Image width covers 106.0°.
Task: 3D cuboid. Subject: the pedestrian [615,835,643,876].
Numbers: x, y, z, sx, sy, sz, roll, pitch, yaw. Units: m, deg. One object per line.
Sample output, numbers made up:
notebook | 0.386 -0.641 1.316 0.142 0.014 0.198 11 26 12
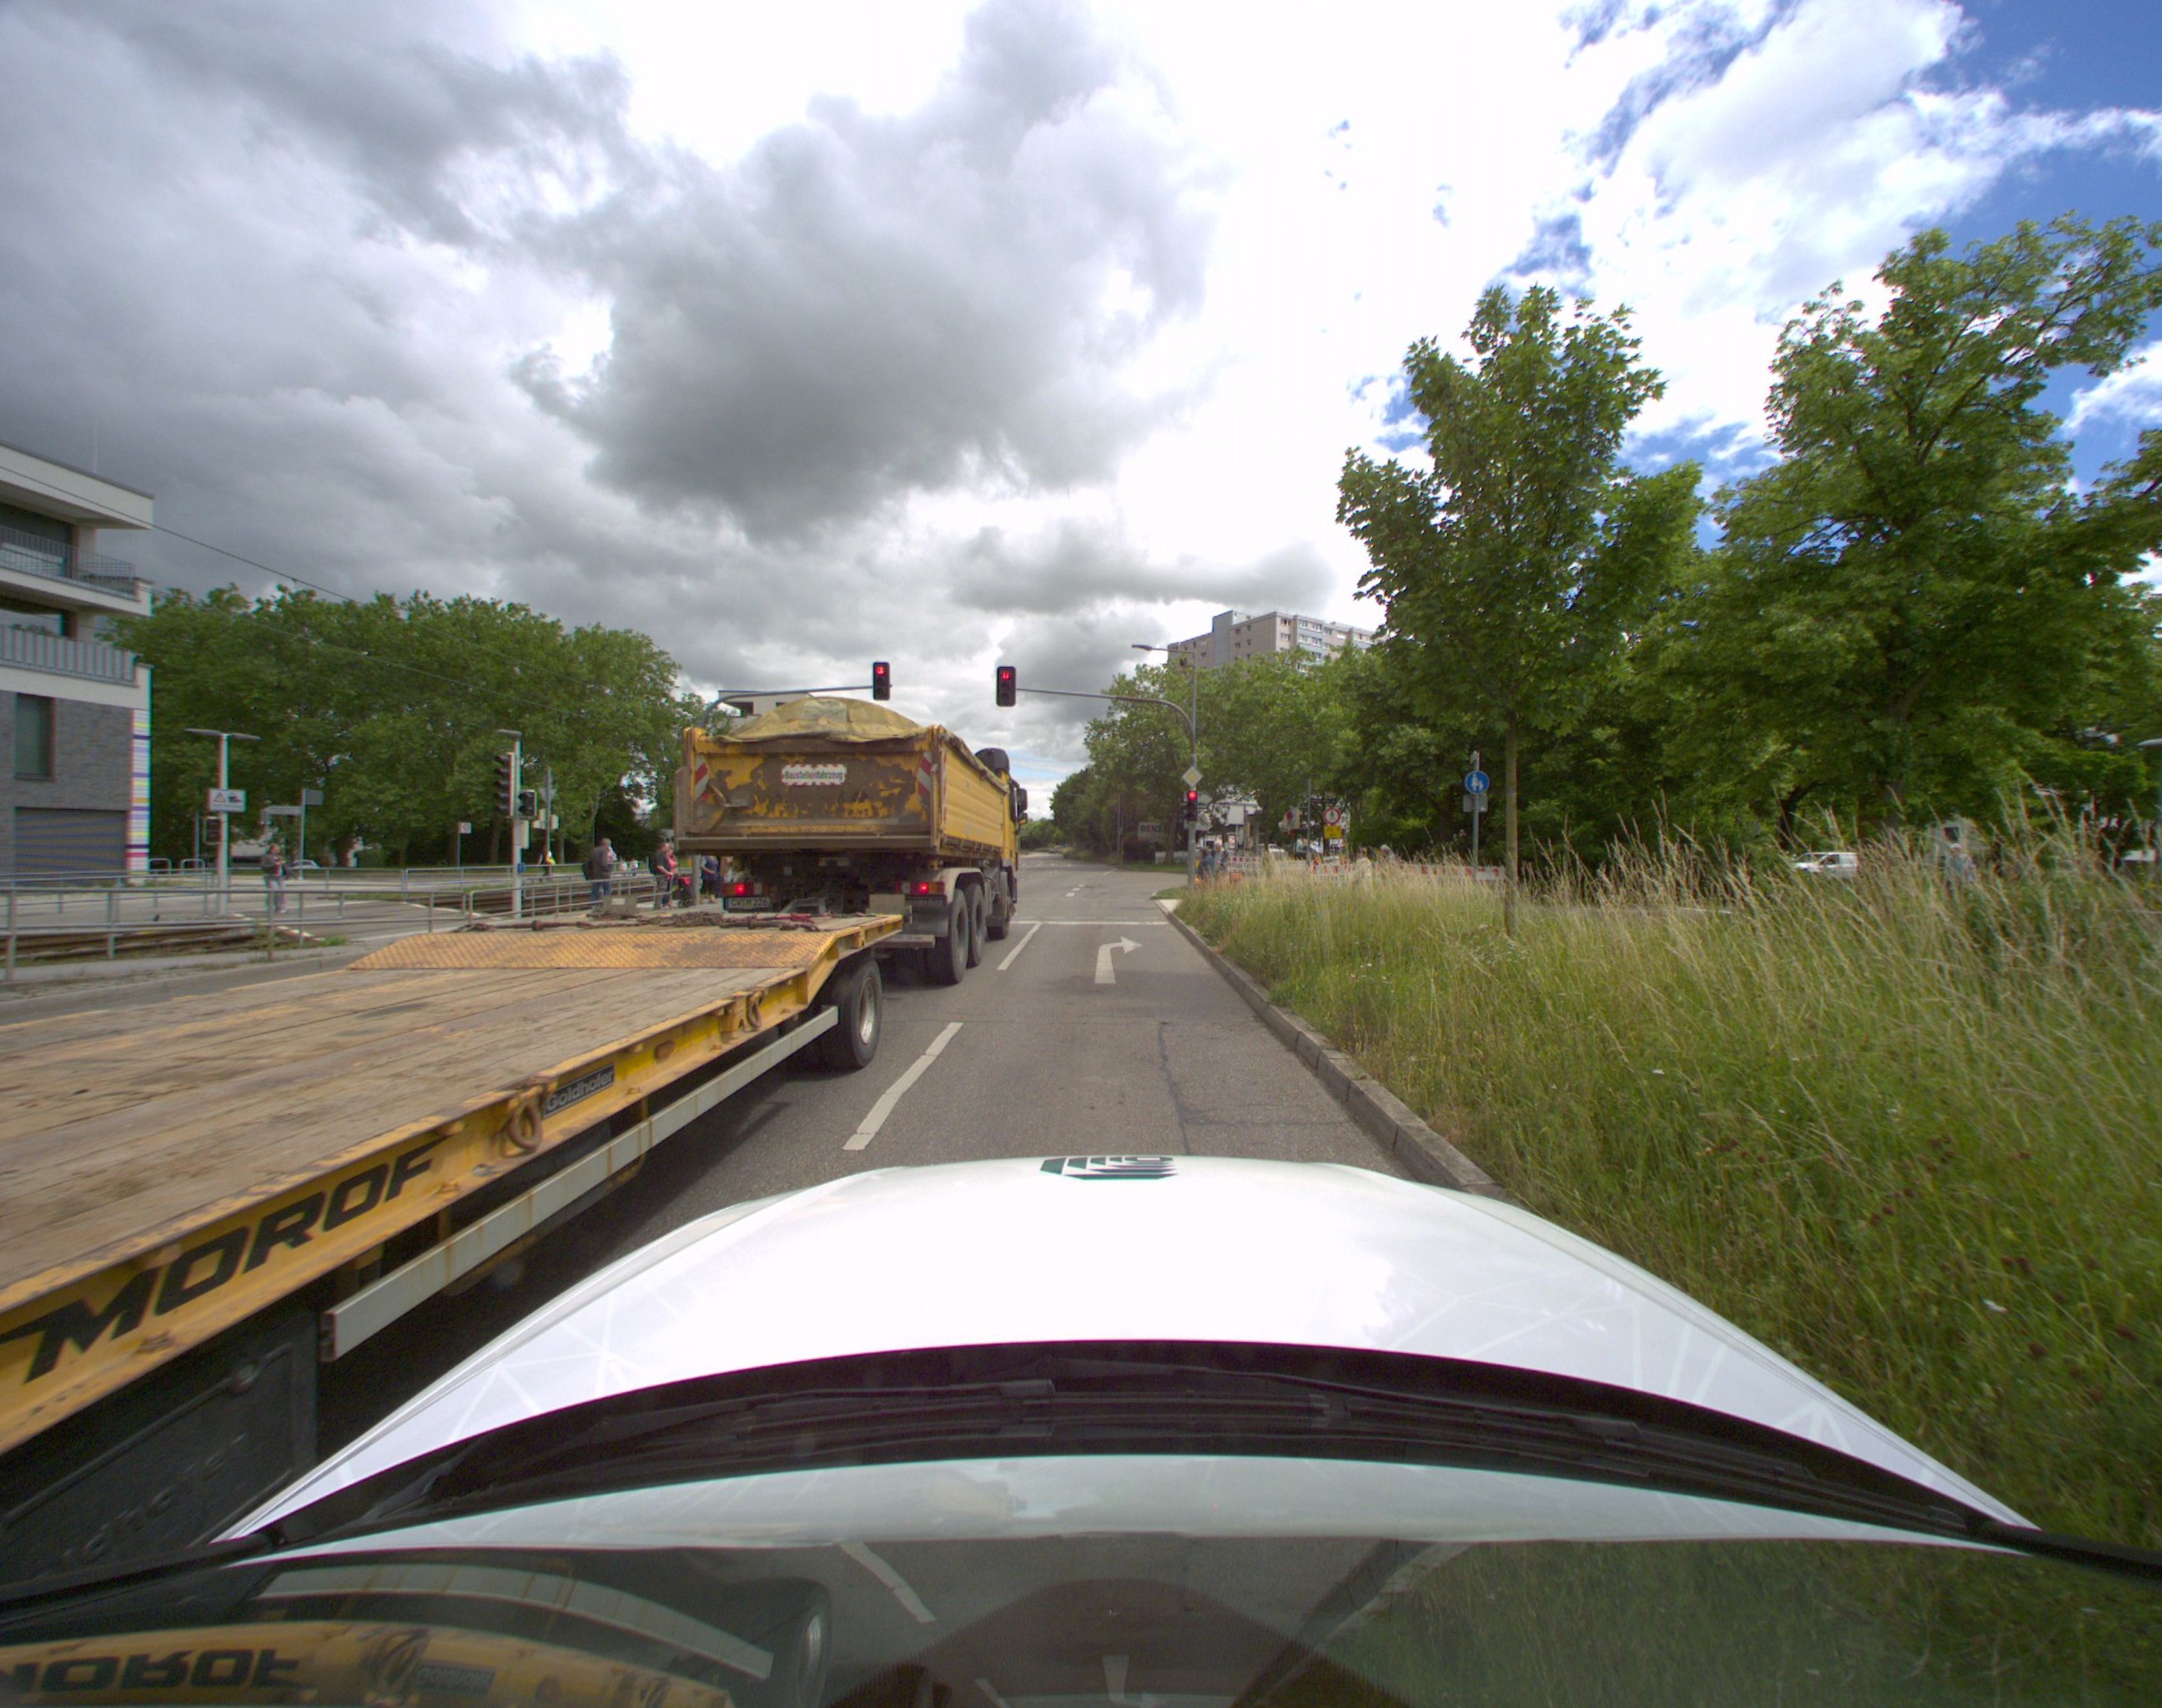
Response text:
pedestrian | -23.508 0.075 42.394 0.912 2.133 0.935 1 0 1

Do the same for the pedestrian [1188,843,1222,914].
pedestrian | 2.928 0.566 19.185 0.621 1.653 0.566 0 -1 28

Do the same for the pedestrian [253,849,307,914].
pedestrian | -18.845 0.634 19.160 0.523 1.479 0.803 1 0 34

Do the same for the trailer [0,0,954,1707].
trailer | -2.750 -0.398 2.144 2.719 3.558 11.258 1 1 1

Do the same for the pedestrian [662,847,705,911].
pedestrian | -10.127 0.623 20.779 0.679 1.602 0.823 1 0 0

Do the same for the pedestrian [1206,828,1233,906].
pedestrian | 3.649 0.333 21.410 0.561 2.014 0.490 1 -1 -8

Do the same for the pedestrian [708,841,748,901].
pedestrian | -10.091 0.471 23.331 0.832 1.669 0.936 1 0 -10

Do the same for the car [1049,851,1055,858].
car | -8.417 0.126 237.079 1.686 1.925 3.996 1 0 -3

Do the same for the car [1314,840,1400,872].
car | 14.831 0.096 43.903 3.973 1.607 2.000 1 0 0

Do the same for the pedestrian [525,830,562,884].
pedestrian | -22.325 0.120 33.834 0.912 2.204 0.882 1 0 1

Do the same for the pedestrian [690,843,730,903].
pedestrian | -10.078 0.509 22.163 0.679 1.602 0.823 1 0 0

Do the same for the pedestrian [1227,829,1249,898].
pedestrian | 4.628 0.287 23.965 0.499 2.014 0.490 1 -1 -8

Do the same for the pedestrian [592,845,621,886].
pedestrian | -24.763 0.586 42.510 0.912 2.133 0.935 1 0 1

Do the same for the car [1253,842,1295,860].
car | 19.518 -0.293 82.140 4.017 1.783 1.978 0 1 -36

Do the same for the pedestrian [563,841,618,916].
pedestrian | -11.180 0.535 18.584 0.817 1.668 0.684 1 0 2

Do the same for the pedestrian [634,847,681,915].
pedestrian | -10.180 0.634 19.588 0.679 1.602 0.823 1 0 0

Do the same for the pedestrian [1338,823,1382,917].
pedestrian | 6.080 0.345 17.773 0.671 2.014 0.633 1 -1 -8

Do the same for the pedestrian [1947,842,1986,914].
pedestrian | 21.885 0.590 20.133 0.490 1.743 0.571 1 0 -35

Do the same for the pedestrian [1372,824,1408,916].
pedestrian | 6.875 0.350 18.126 0.561 2.014 0.490 1 -1 -8

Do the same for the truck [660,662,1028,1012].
truck | -2.536 -0.204 11.959 2.743 3.313 8.354 1 0 1
